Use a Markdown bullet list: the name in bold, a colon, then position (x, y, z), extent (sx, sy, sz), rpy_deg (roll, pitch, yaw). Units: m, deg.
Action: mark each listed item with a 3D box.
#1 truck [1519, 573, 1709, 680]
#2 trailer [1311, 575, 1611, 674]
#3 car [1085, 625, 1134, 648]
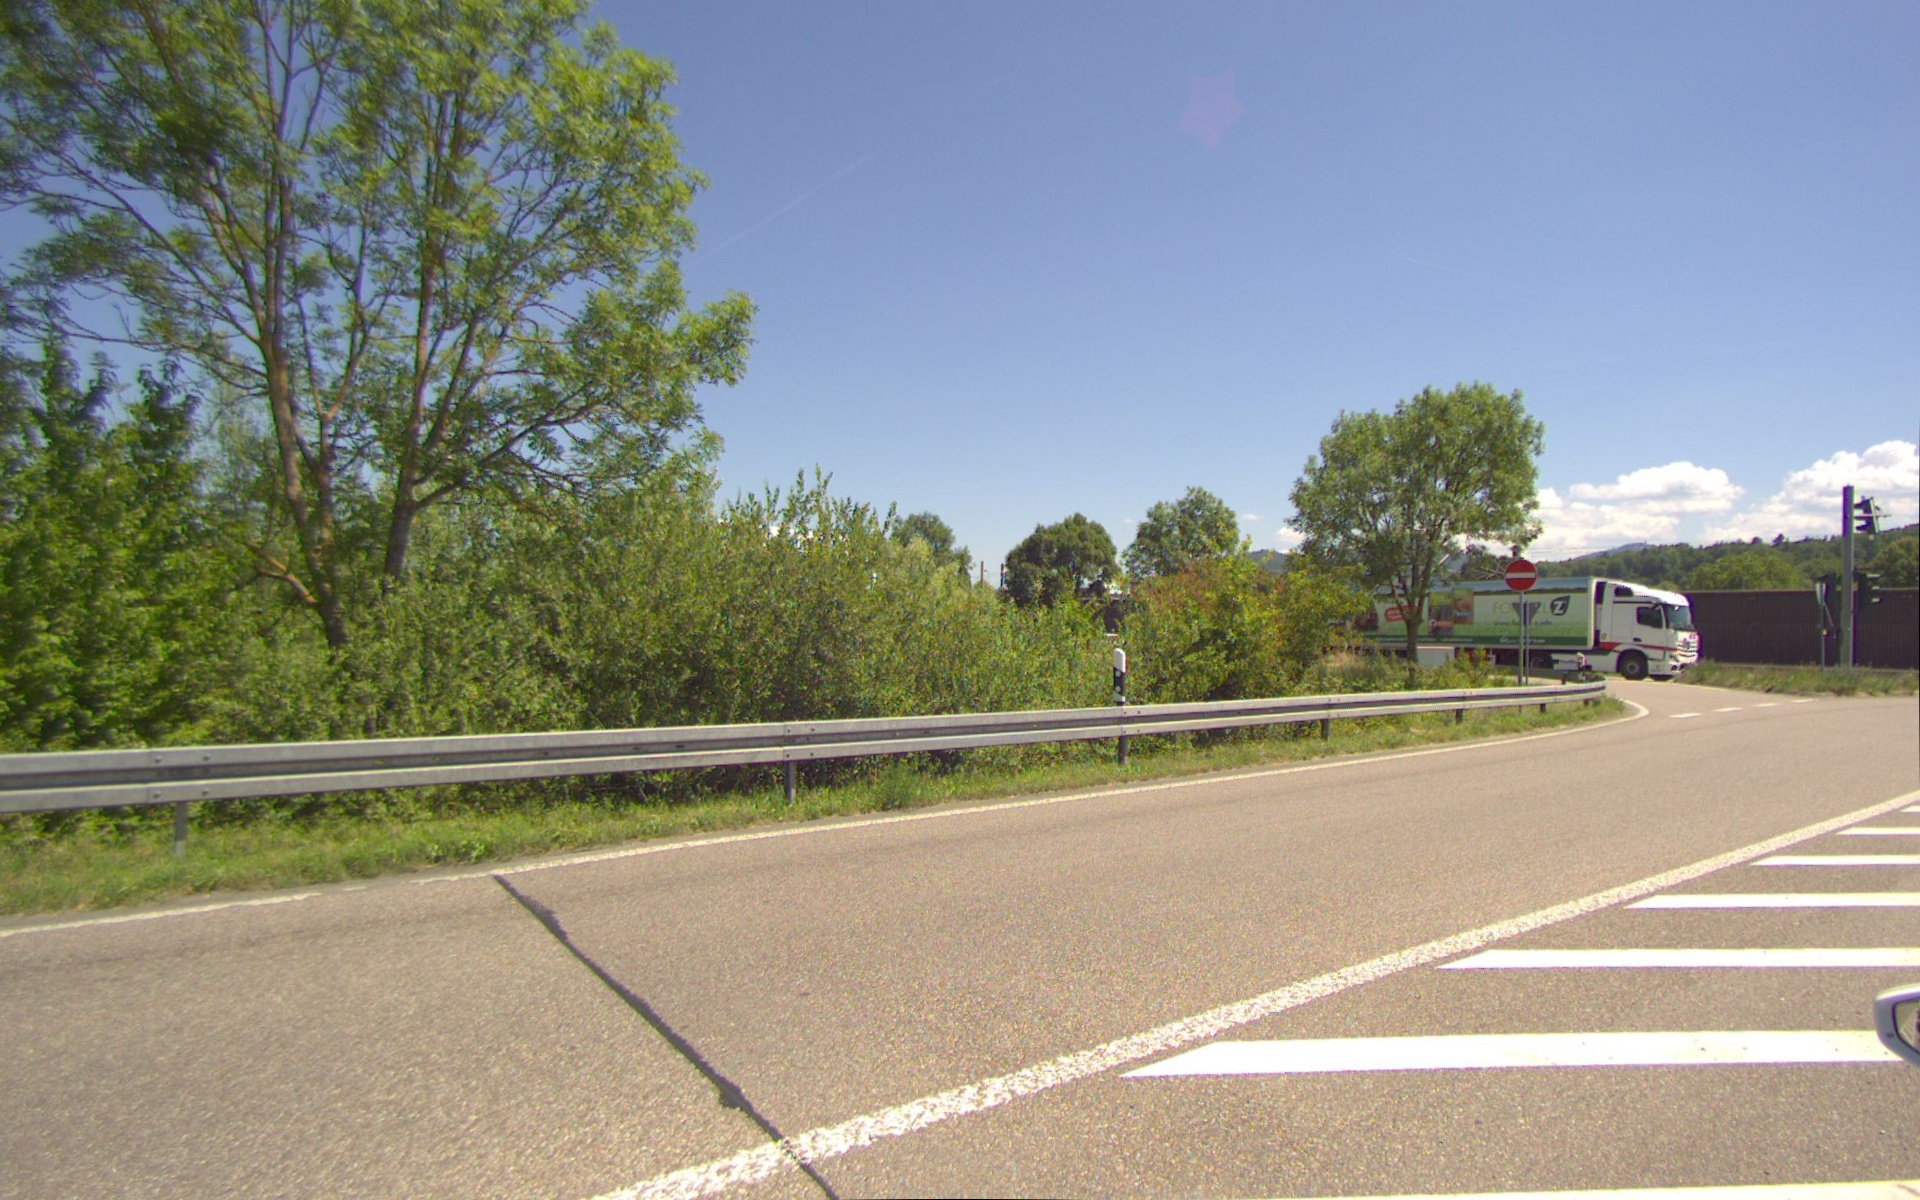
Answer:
- **truck**: position (26.518, 1.048, 40.964), extent (3.027, 4.007, 5.736), rpy_deg (2, -1, -31)
- **trailer**: position (22.823, 1.053, 47.197), extent (3.027, 4.007, 13.074), rpy_deg (2, -1, -31)
- **car**: position (10.361, 2.525, 69.681), extent (1.537, 1.484, 3.455), rpy_deg (2, -1, -31)
